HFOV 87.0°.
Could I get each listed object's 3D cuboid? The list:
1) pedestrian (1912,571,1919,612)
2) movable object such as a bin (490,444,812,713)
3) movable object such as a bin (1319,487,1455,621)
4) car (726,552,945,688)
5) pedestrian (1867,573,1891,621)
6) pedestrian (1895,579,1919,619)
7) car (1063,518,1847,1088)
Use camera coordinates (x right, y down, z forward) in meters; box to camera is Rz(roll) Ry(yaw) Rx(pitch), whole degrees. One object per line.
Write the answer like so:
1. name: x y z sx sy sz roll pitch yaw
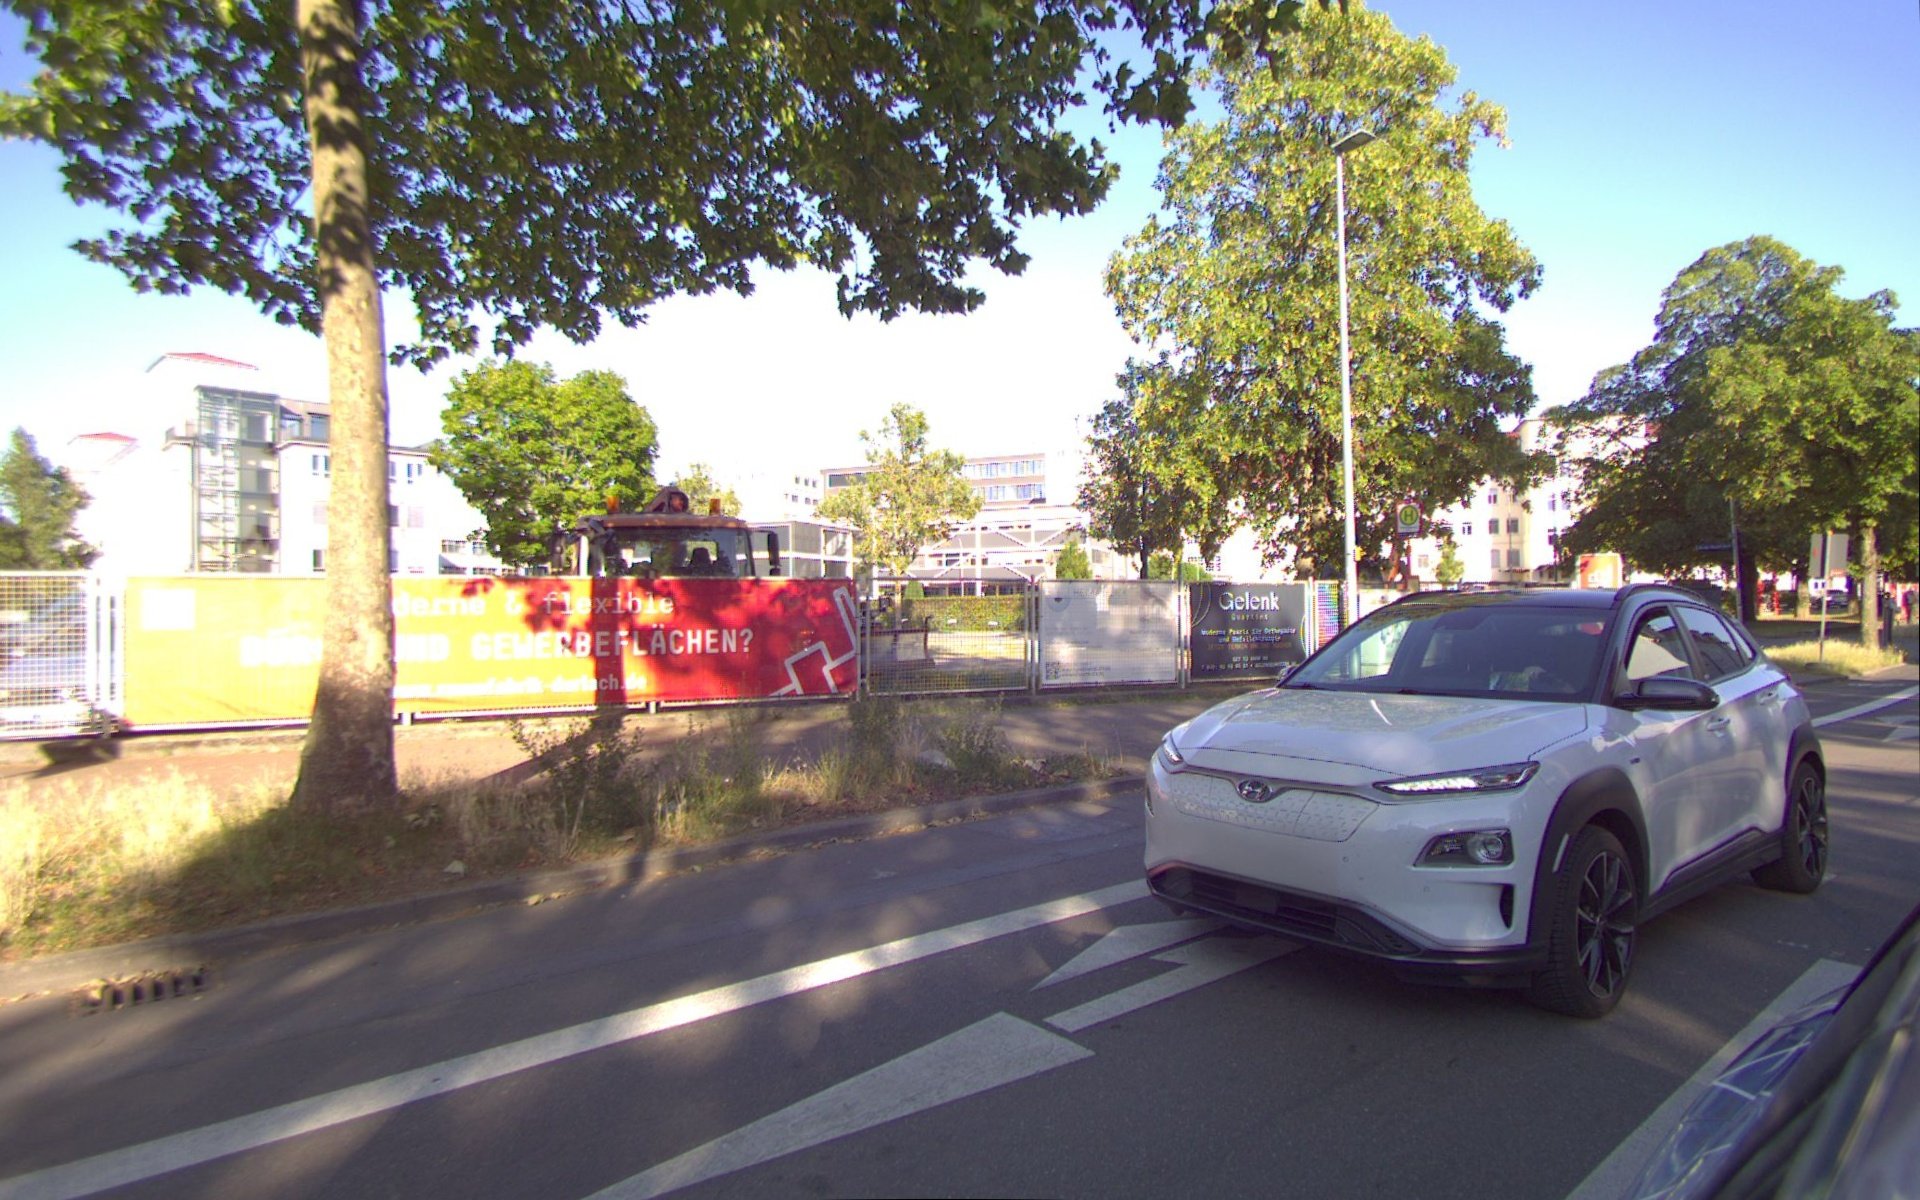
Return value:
1. pedestrian: 40.331 -0.354 42.261 0.627 1.690 0.696 -1 -1 -37
2. movable object such as a bin: -4.930 -0.240 15.138 3.154 3.088 6.294 -2 0 -31
3. movable object such as a bin: 19.094 -1.937 45.742 3.910 5.548 6.021 -2 0 7
4. car: -2.185 0.286 16.358 2.001 1.851 4.611 -2 0 -27
5. pedestrian: 34.758 -0.114 38.268 0.607 1.759 0.629 -2 -1 44
6. pedestrian: 35.083 -0.026 37.433 0.628 1.453 0.609 -1 -1 -40
7. car: 2.549 0.631 4.862 3.893 1.618 1.893 1 -3 -39
